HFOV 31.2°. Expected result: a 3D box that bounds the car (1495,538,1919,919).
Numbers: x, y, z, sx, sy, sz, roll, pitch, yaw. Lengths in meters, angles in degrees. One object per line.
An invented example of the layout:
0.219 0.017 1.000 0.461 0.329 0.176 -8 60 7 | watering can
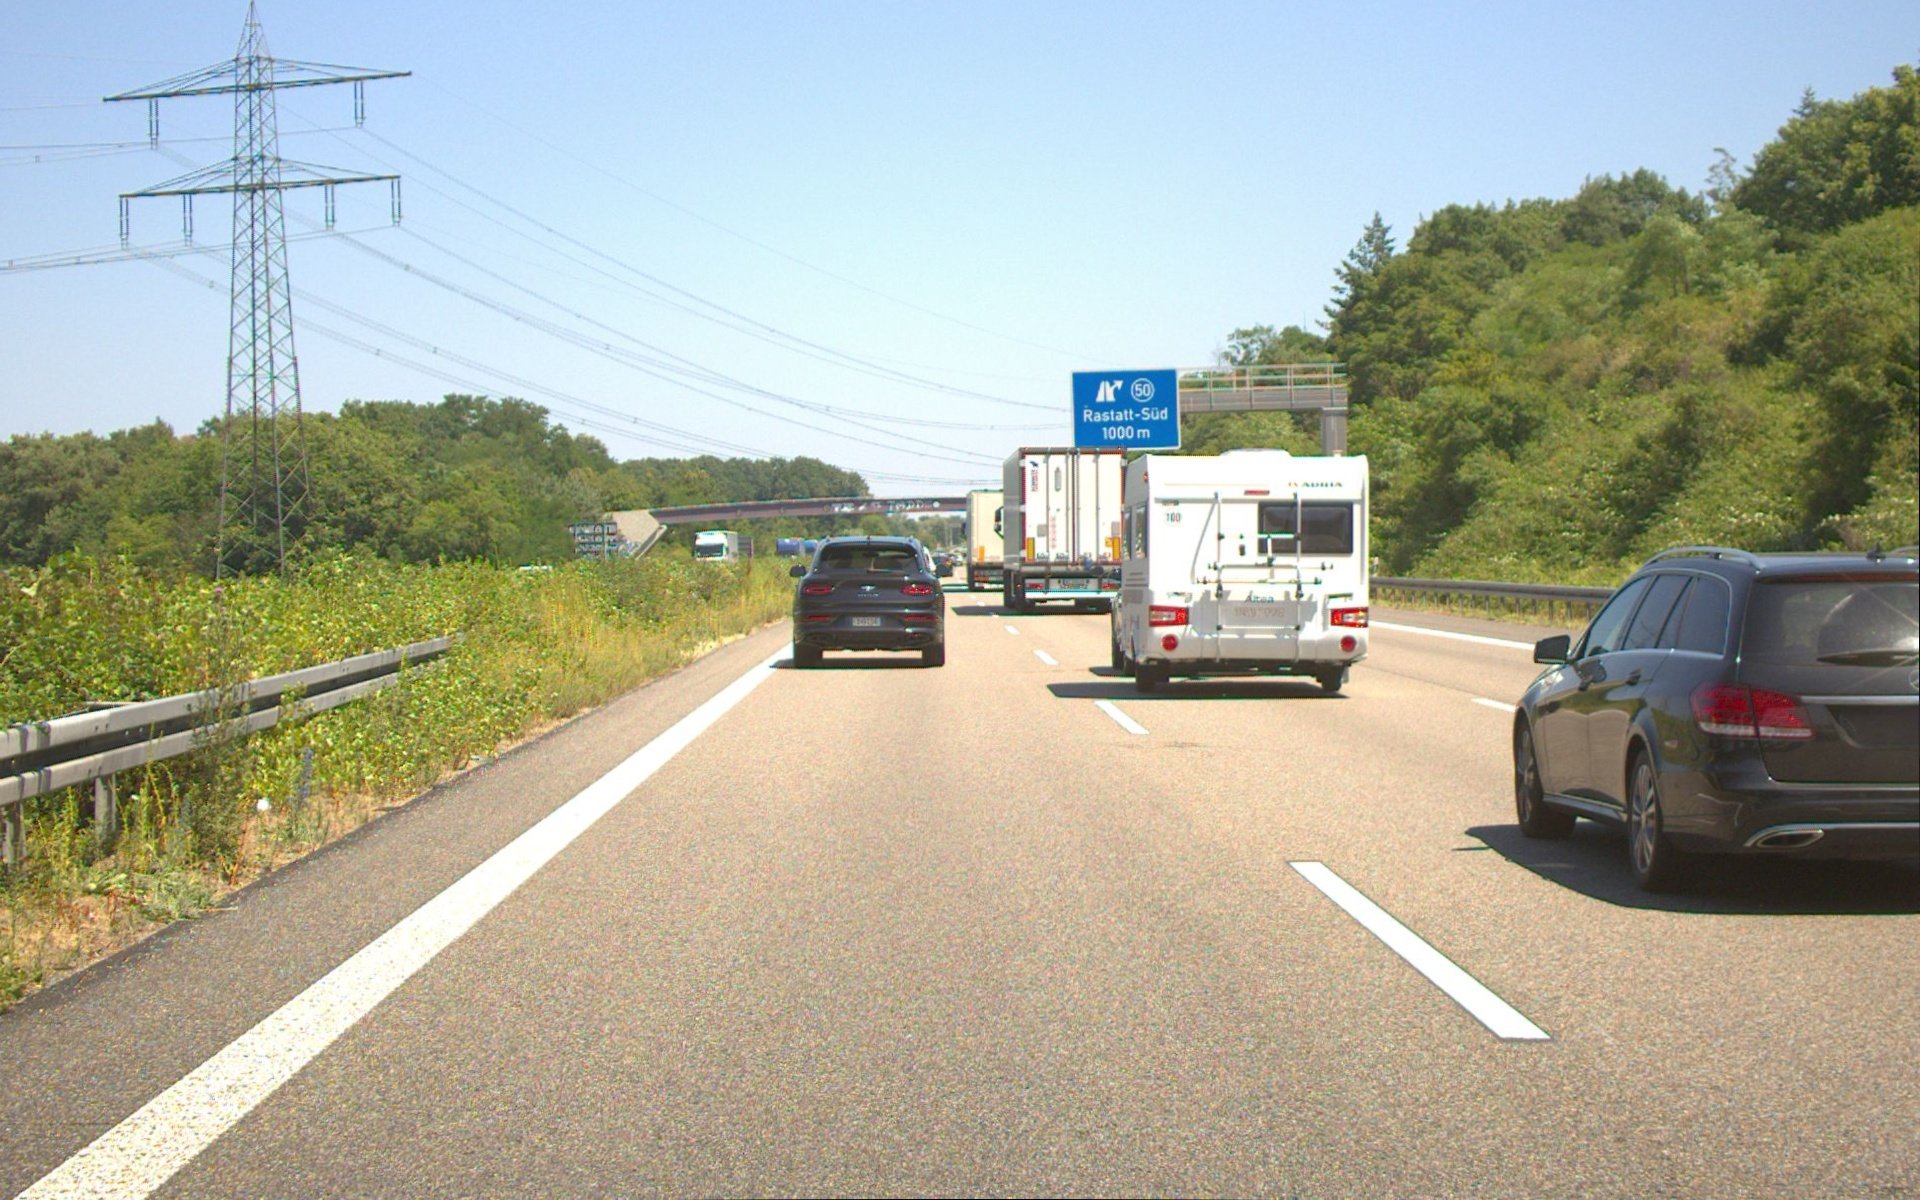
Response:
3.796 0.467 16.012 1.841 1.500 4.738 0 1 0 | car

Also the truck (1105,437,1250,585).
6.484 -2.621 104.383 3.571 4.230 11.652 0 1 0 | truck

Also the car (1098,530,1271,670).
2.748 -0.043 42.924 1.879 1.607 4.702 -2 1 1 | car

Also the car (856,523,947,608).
-1.355 -0.805 78.108 1.961 1.808 4.449 -1 1 -1 | car

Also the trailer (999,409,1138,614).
2.663 -2.180 87.997 3.087 4.868 12.258 0 1 0 | trailer

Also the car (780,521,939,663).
-1.343 -0.138 46.009 1.993 1.766 4.000 -1 1 -1 | car

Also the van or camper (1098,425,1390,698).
2.958 -0.444 37.399 2.439 2.665 6.350 -1 1 -1 | van or camper

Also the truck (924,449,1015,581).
0.339 -3.401 139.304 3.512 5.149 10.259 0 1 0 | truck
